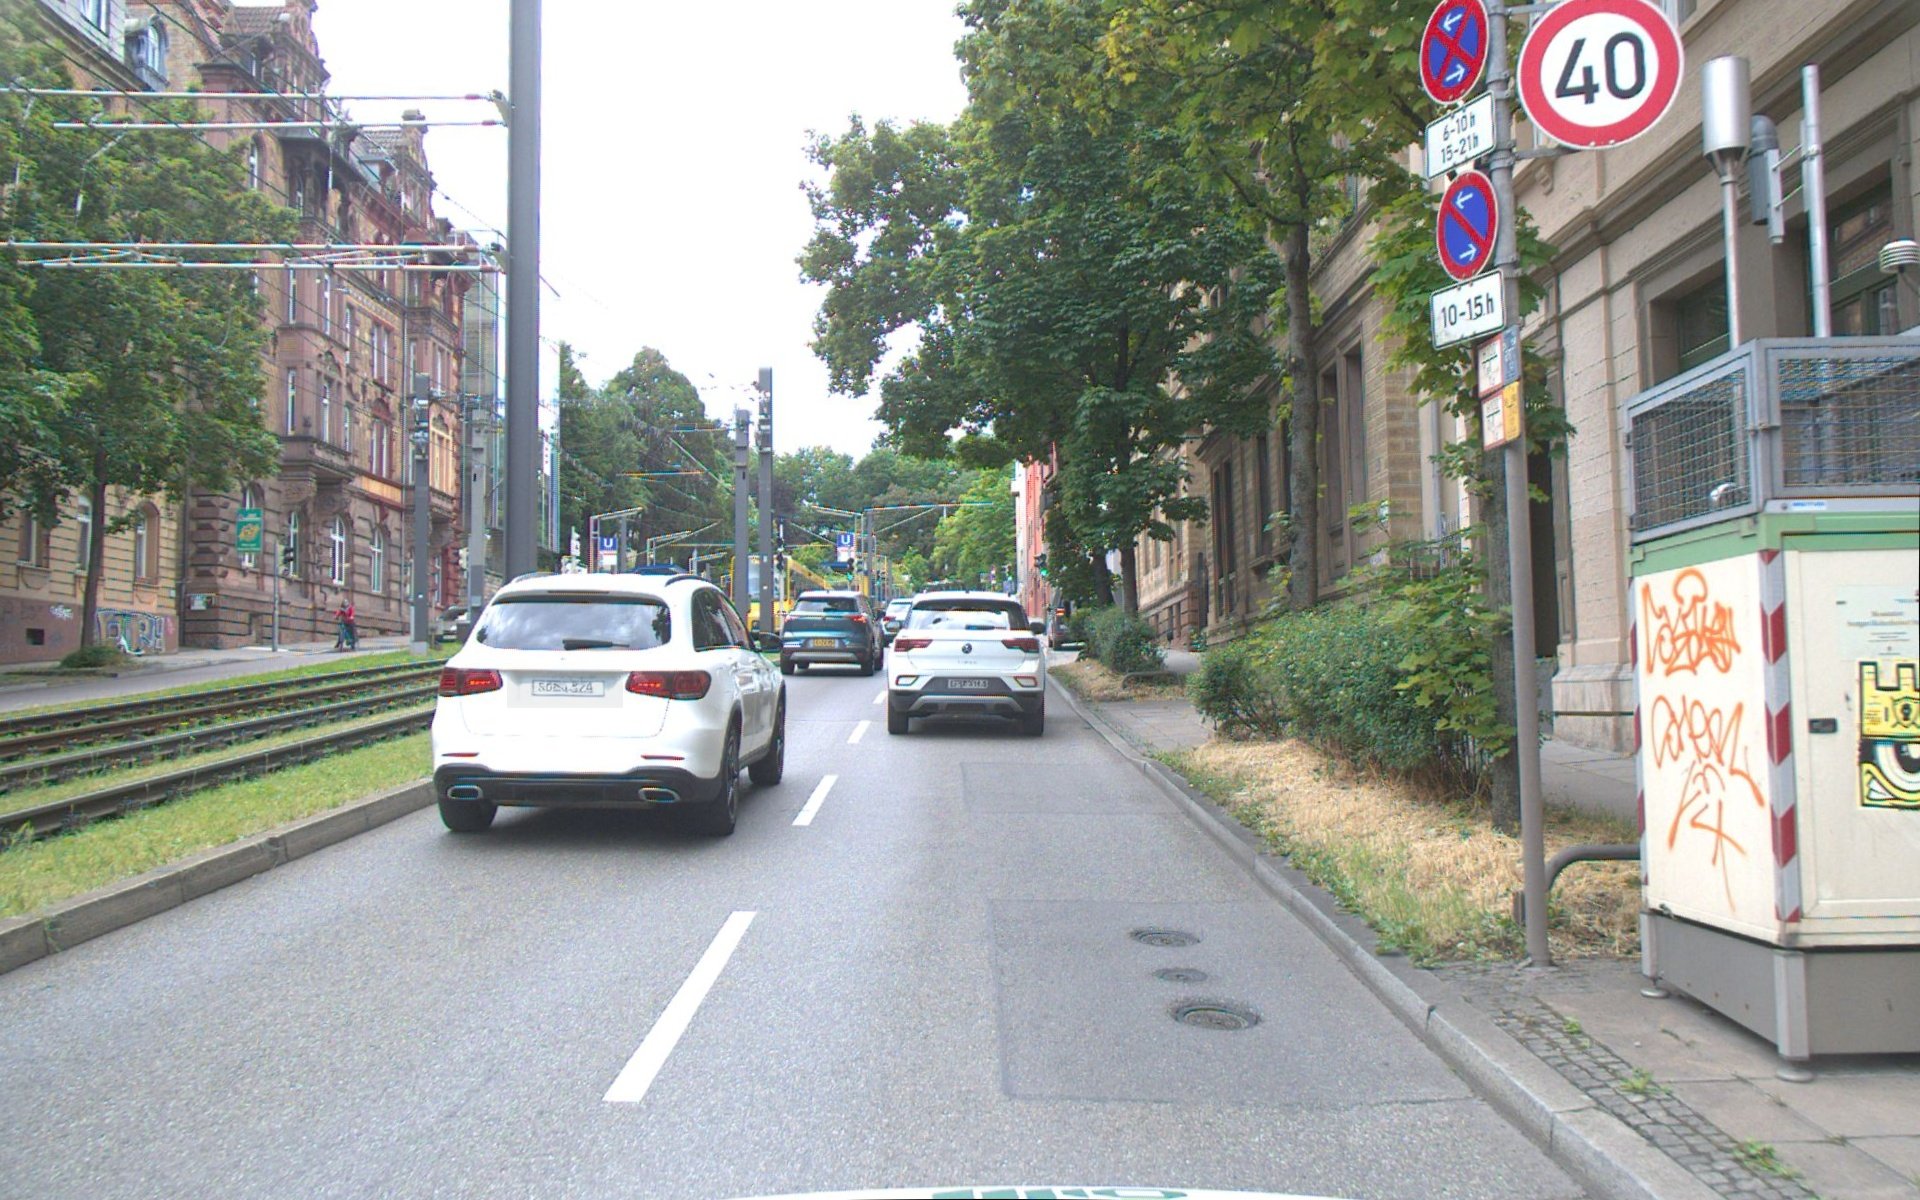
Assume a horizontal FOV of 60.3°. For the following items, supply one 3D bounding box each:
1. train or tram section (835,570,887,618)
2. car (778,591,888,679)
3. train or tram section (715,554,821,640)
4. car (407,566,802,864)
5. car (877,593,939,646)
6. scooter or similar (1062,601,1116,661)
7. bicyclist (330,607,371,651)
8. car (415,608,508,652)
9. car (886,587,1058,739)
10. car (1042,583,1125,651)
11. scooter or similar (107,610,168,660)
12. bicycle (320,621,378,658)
[{"bbox_3d":[-7.442,-0.448,125.992,2.934,3.407,13.439,-1,0,1],"label":"train or tram section"},{"bbox_3d":[-2.406,0.641,32.289,1.798,1.573,4.193,1,0,0],"label":"car"},{"bbox_3d":[-8.225,-0.104,72.792,2.934,3.407,13.439,-1,0,1],"label":"train or tram section"},{"bbox_3d":[-2.277,0.664,11.888,1.798,1.696,4.670,1,0,0],"label":"car"},{"bbox_3d":[-1.584,0.589,51.510,1.798,1.573,4.193,1,0,0],"label":"car"},{"bbox_3d":[2.556,0.611,32.734,1.015,1.138,0.331,-2,0,6],"label":"scooter or similar"},{"bbox_3d":[-20.225,0.955,54.887,0.919,1.450,1.188,-1,0,-1],"label":"bicyclist"},{"bbox_3d":[-17.244,1.001,57.402,1.952,1.427,4.000,-1,0,1],"label":"car"},{"bbox_3d":[0.082,0.665,19.550,1.798,1.573,4.192,1,0,-1],"label":"car"},{"bbox_3d":[3.190,0.423,43.392,1.798,1.629,4.193,-2,0,0],"label":"car"},{"bbox_3d":[-22.299,0.932,44.883,0.616,1.277,2.214,-1,0,-3],"label":"scooter or similar"},{"bbox_3d":[-20.233,1.288,54.843,0.919,1.119,2.702,-1,0,0],"label":"bicycle"}]
